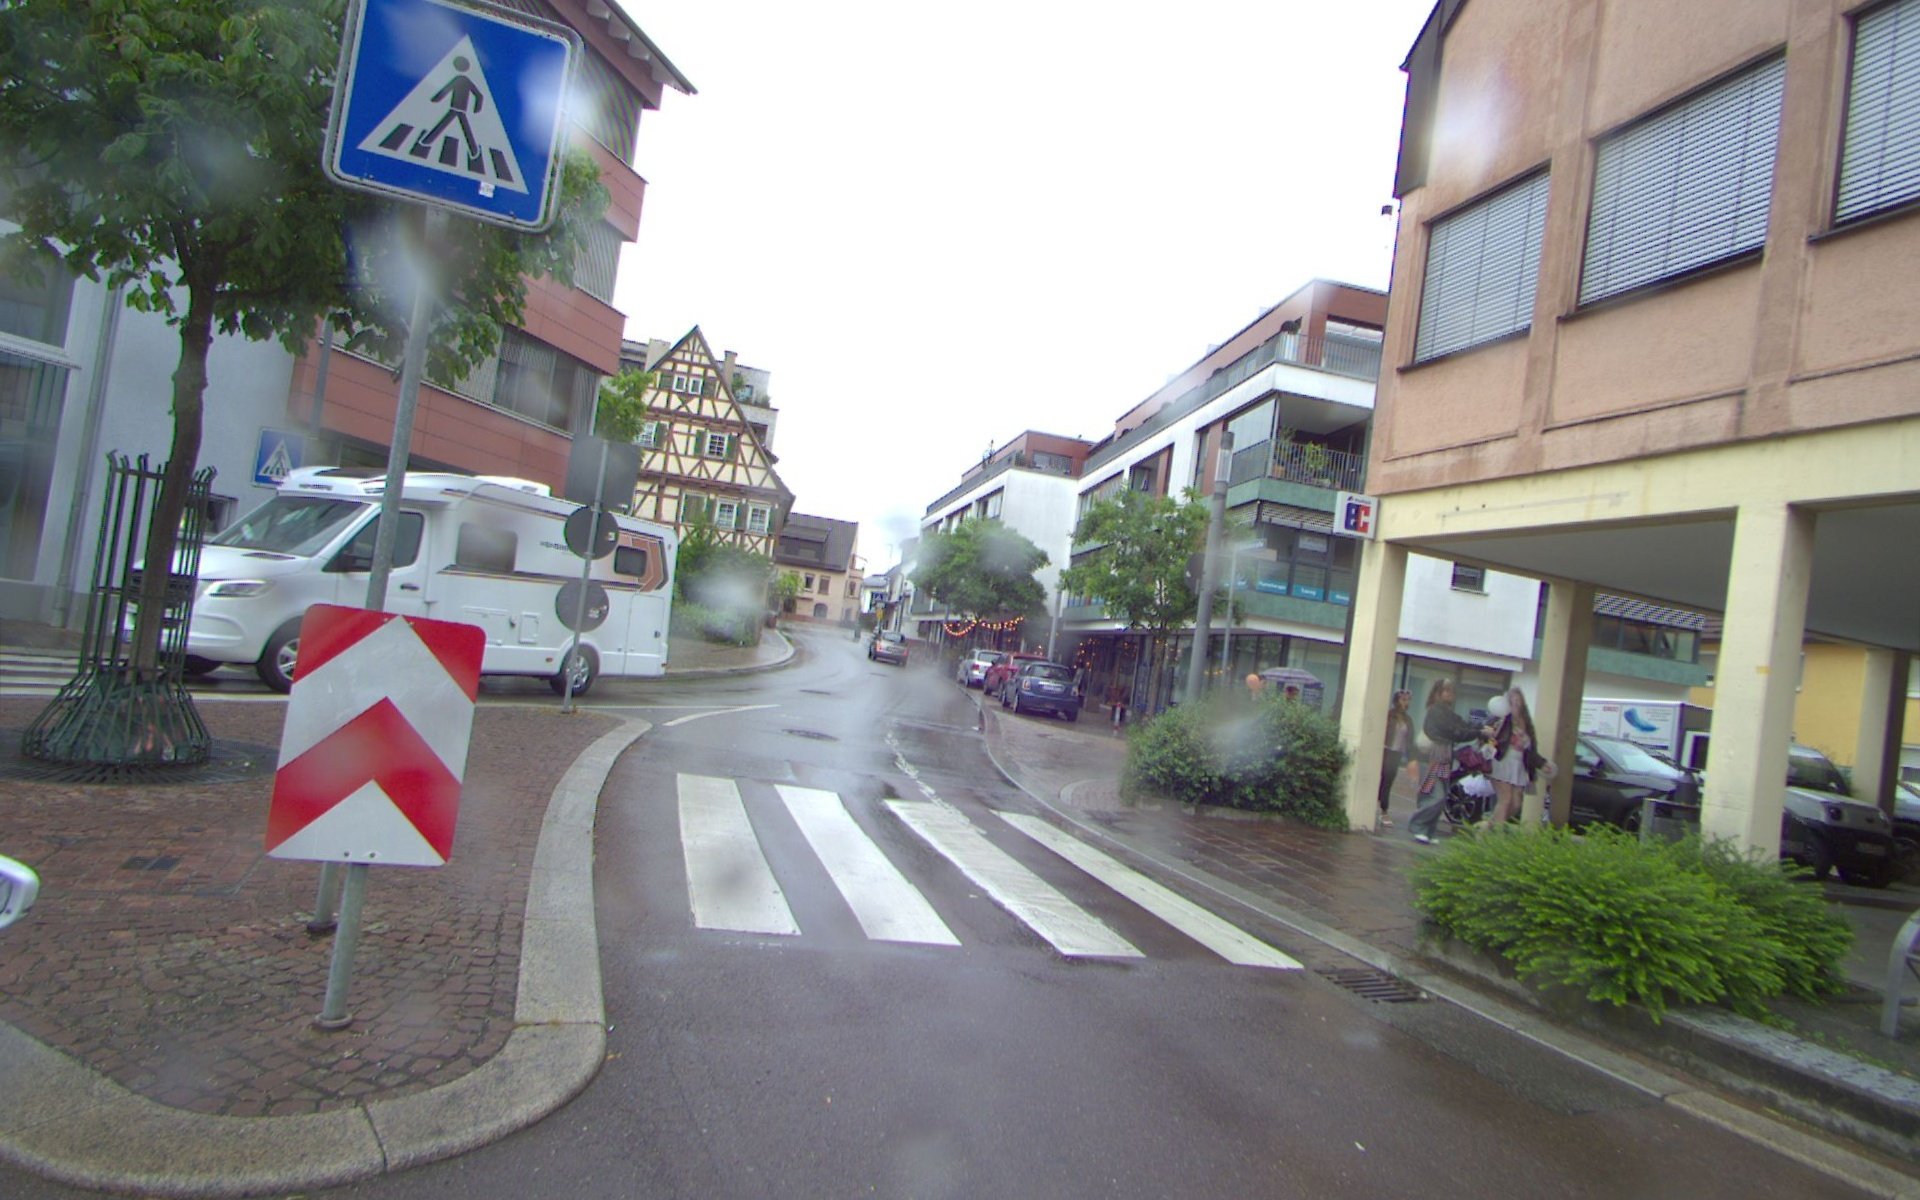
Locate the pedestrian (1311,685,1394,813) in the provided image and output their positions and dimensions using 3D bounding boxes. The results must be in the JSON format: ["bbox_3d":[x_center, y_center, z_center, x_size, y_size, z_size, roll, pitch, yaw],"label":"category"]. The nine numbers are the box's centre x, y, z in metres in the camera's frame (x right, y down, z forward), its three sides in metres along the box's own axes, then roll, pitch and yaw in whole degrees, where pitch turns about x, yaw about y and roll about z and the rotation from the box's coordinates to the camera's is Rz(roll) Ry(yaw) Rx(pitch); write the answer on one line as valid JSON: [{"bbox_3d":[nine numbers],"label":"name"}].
[{"bbox_3d":[5.710,2.148,14.652,0.626,1.708,0.741,8,-2,-15],"label":"pedestrian"}]

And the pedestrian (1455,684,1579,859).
[{"bbox_3d":[5.930,1.812,10.720,0.717,1.708,0.728,8,-2,-29],"label":"pedestrian"}]

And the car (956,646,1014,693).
[{"bbox_3d":[0.890,2.586,38.123,1.592,1.430,3.998,6,-2,-6],"label":"car"}]

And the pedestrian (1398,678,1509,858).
[{"bbox_3d":[5.128,1.712,10.440,0.807,1.680,0.697,6,-2,32],"label":"pedestrian"}]

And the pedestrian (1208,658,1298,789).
[{"bbox_3d":[4.297,1.794,14.796,0.725,1.768,0.890,8,-2,-16],"label":"pedestrian"}]

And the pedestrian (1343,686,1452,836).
[{"bbox_3d":[5.246,1.911,12.093,0.732,1.623,0.824,6,-1,-12],"label":"pedestrian"}]

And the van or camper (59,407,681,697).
[{"bbox_3d":[-6.822,-0.244,13.100,2.400,2.613,6.760,6,-4,21],"label":"van or camper"}]

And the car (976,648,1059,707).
[{"bbox_3d":[1.791,2.459,32.619,1.602,1.518,3.994,6,-2,-11],"label":"car"}]

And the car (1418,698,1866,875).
[{"bbox_3d":[8.078,2.156,12.532,1.742,1.290,4.460,8,-3,-15],"label":"car"}]

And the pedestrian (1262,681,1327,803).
[{"bbox_3d":[4.924,2.080,14.835,0.533,1.682,0.520,8,-2,-13],"label":"pedestrian"}]

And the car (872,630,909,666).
[{"bbox_3d":[-3.405,2.304,48.782,1.500,1.487,3.340,8,-2,-6],"label":"car"}]

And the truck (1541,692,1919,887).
[{"bbox_3d":[10.315,2.409,13.640,1.742,1.828,3.989,8,-3,-16],"label":"truck"}]

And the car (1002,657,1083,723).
[{"bbox_3d":[2.187,2.405,27.461,1.515,1.377,3.374,9,-2,-4],"label":"car"}]
